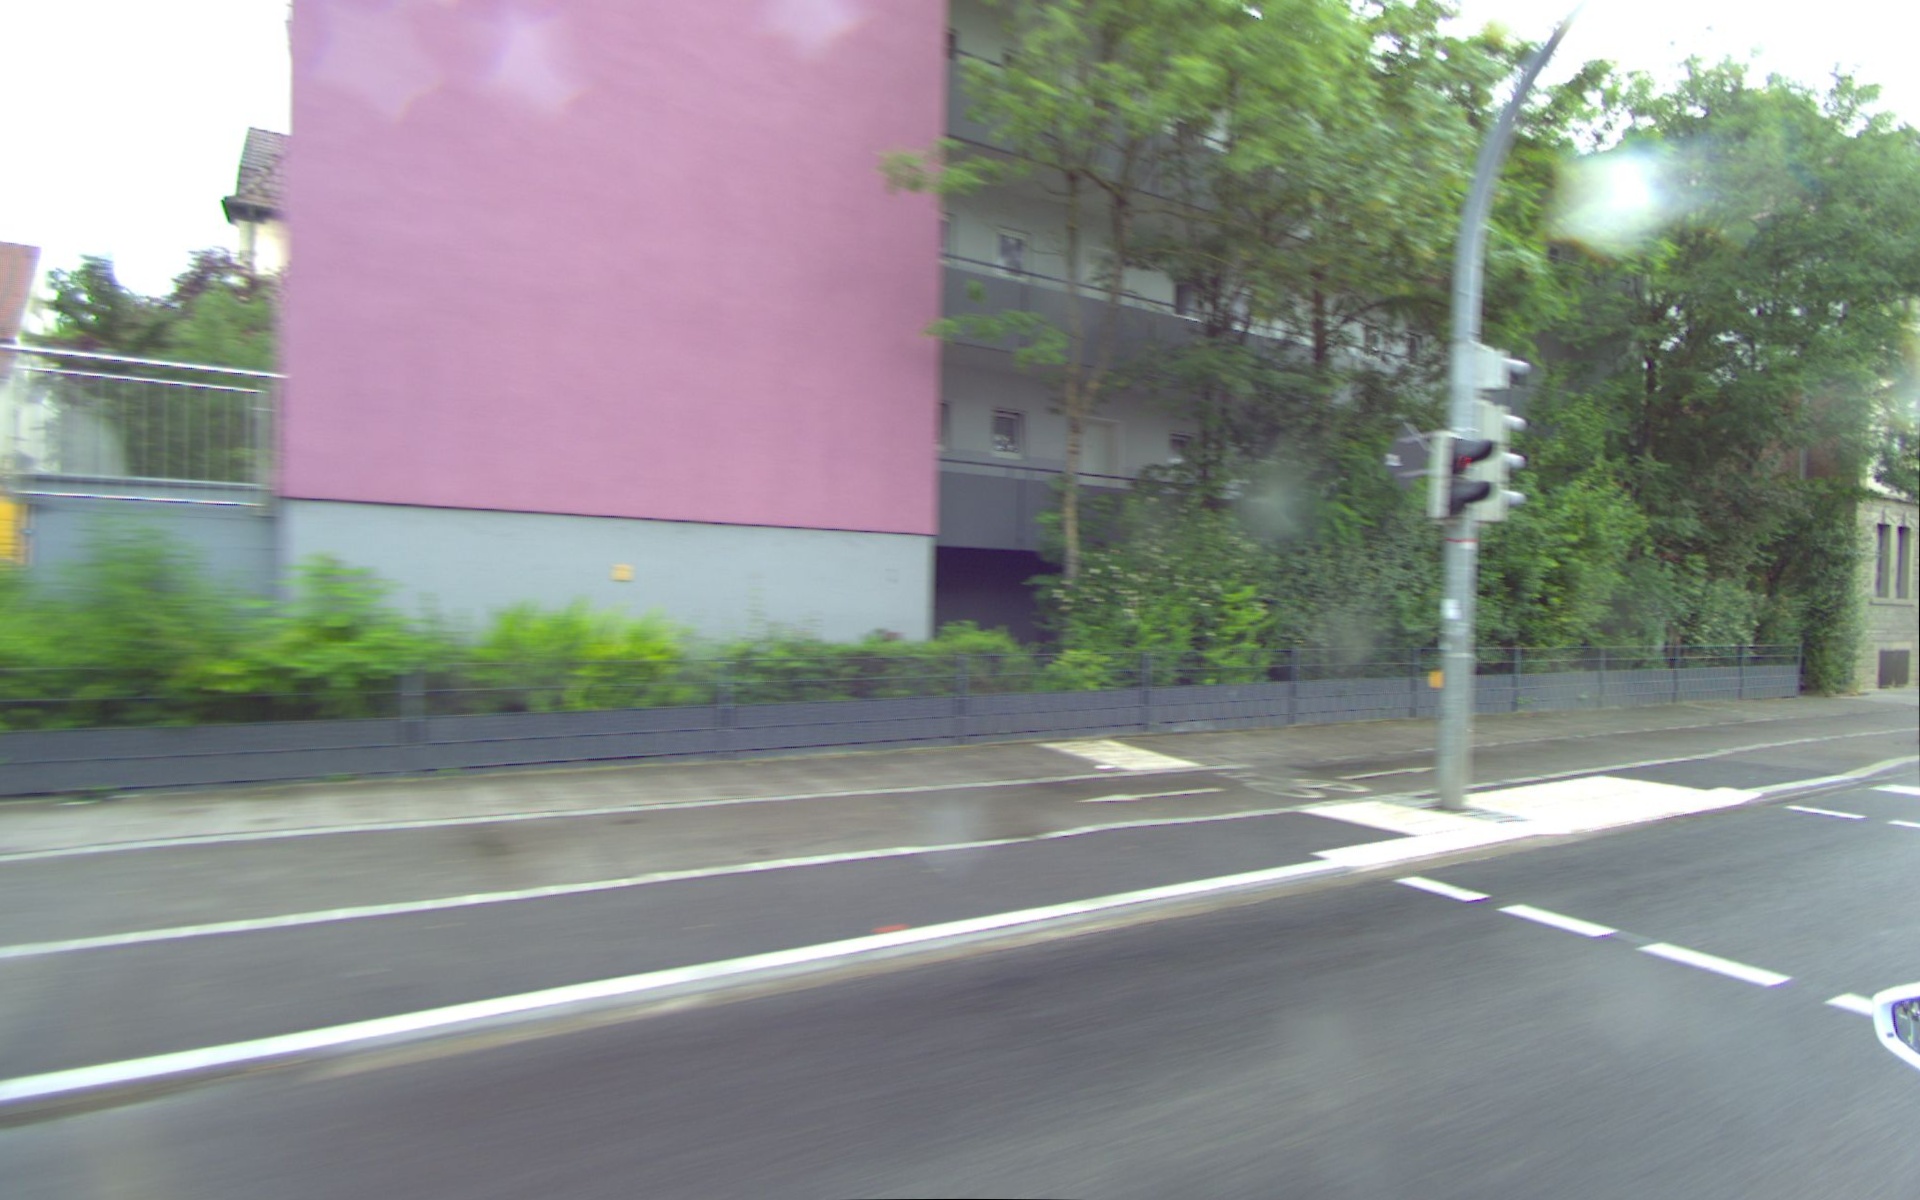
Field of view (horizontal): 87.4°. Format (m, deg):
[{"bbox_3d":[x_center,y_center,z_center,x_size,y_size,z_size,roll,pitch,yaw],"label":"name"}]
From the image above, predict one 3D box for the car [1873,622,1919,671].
[{"bbox_3d":[32.246,1.612,32.485,1.925,1.506,3.546,2,2,-31],"label":"car"}]
